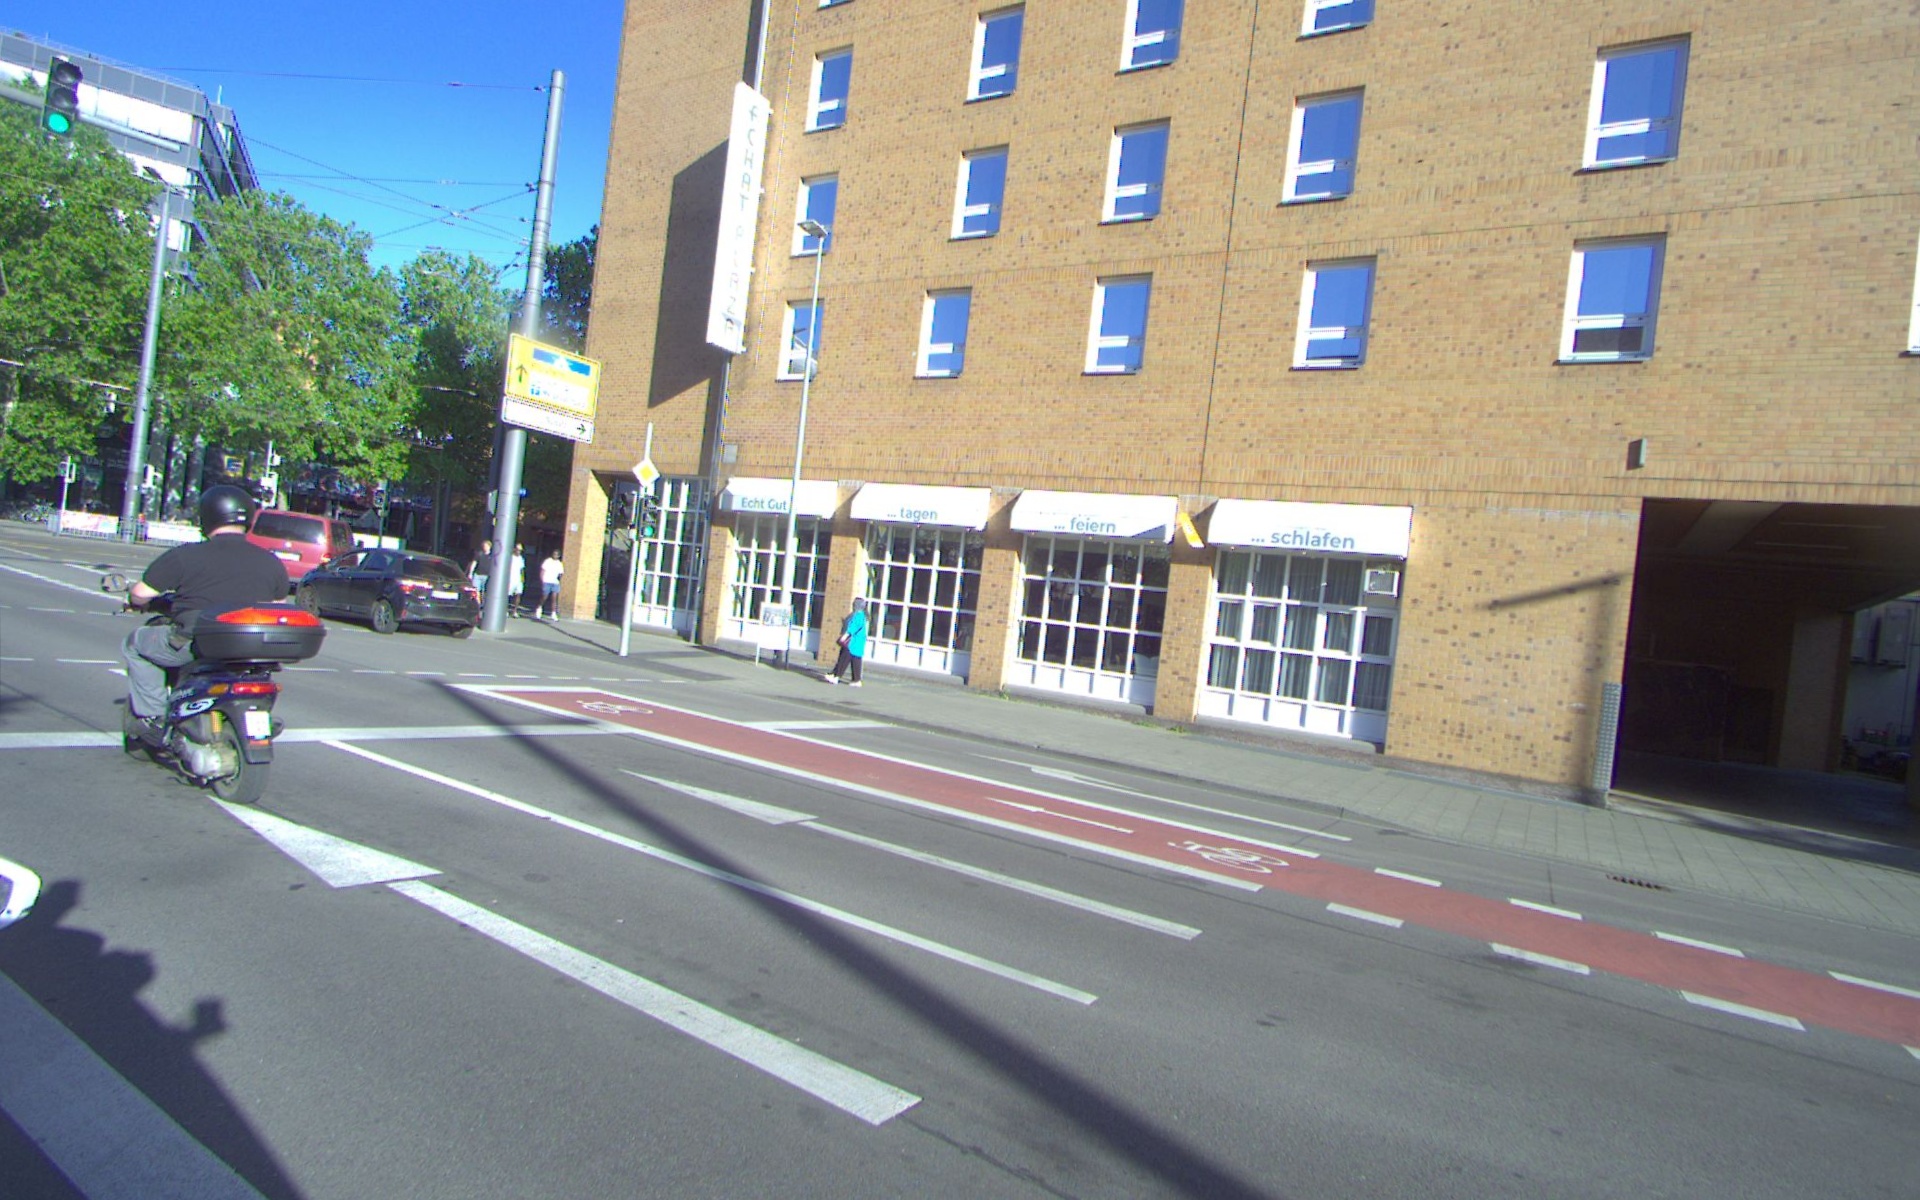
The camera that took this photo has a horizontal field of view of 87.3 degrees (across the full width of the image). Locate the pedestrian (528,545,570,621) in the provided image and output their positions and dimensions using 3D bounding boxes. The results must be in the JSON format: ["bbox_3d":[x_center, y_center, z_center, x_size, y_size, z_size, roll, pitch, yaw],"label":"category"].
[{"bbox_3d":[-10.270,-0.422,25.129,0.673,1.802,0.591,6,1,43],"label":"pedestrian"}]

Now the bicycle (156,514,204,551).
[{"bbox_3d":[-33.383,-2.908,43.048,2.872,1.383,0.726,6,-2,36],"label":"bicycle"}]

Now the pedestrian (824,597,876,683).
[{"bbox_3d":[-1.983,0.718,18.150,0.591,1.471,0.592,6,2,32],"label":"pedestrian"}]

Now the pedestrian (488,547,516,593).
[{"bbox_3d":[-17.963,-1.169,39.464,0.636,1.719,0.715,8,-2,-39],"label":"pedestrian"}]

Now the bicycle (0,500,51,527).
[{"bbox_3d":[-48.773,-4.509,52.482,0.354,1.058,1.885,7,-2,31],"label":"bicycle"}]

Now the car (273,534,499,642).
[{"bbox_3d":[-10.916,-0.238,19.097,3.970,1.466,1.737,7,-2,28],"label":"car"}]

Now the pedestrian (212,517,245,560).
[{"bbox_3d":[-28.651,-2.408,39.390,0.689,1.550,0.568,7,-1,4],"label":"pedestrian"}]

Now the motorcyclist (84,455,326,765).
[{"bbox_3d":[-4.218,0.071,5.653,0.520,1.598,0.798,6,-1,31],"label":"motorcyclist"}]

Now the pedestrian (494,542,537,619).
[{"bbox_3d":[-10.796,-0.478,24.453,0.670,1.804,0.593,5,2,29],"label":"pedestrian"}]

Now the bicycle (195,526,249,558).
[{"bbox_3d":[-36.349,-2.843,49.559,0.414,1.228,2.046,6,-2,32],"label":"bicycle"}]

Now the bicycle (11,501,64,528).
[{"bbox_3d":[-47.354,-4.360,51.659,0.354,1.058,1.884,6,-2,31],"label":"bicycle"}]

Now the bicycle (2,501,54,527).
[{"bbox_3d":[-48.364,-4.454,52.240,0.354,1.058,1.884,6,-2,31],"label":"bicycle"}]

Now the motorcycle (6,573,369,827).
[{"bbox_3d":[-4.508,0.504,5.809,2.336,1.062,0.805,6,-2,32],"label":"motorcycle"}]

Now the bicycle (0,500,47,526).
[{"bbox_3d":[-49.201,-4.560,52.719,0.354,1.058,1.885,7,-2,31],"label":"bicycle"}]

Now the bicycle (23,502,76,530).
[{"bbox_3d":[-46.011,-4.247,50.851,0.354,1.058,1.884,6,-2,31],"label":"bicycle"}]

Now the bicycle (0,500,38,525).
[{"bbox_3d":[-50.178,-4.671,53.279,0.354,1.058,1.885,7,-2,31],"label":"bicycle"}]

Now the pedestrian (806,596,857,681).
[{"bbox_3d":[-2.361,0.709,18.477,0.543,1.495,0.593,6,0,32],"label":"pedestrian"}]

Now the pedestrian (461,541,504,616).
[{"bbox_3d":[-12.195,-0.542,25.688,0.726,1.813,0.510,7,-1,-19],"label":"pedestrian"}]

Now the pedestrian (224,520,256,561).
[{"bbox_3d":[-28.618,-2.354,39.994,0.689,1.496,0.568,7,-1,2],"label":"pedestrian"}]

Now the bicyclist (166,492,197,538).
[{"bbox_3d":[-33.273,-3.622,43.022,0.717,1.829,0.697,6,-1,36],"label":"bicyclist"}]

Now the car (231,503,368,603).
[{"bbox_3d":[-16.417,-1.108,25.260,1.785,2.031,4.452,8,-2,-22],"label":"car"}]

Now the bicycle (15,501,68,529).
[{"bbox_3d":[-46.712,-4.311,51.173,0.354,1.058,1.884,6,-2,31],"label":"bicycle"}]

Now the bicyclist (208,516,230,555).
[{"bbox_3d":[-36.400,-3.171,49.427,0.396,1.859,0.585,6,-1,31],"label":"bicyclist"}]
